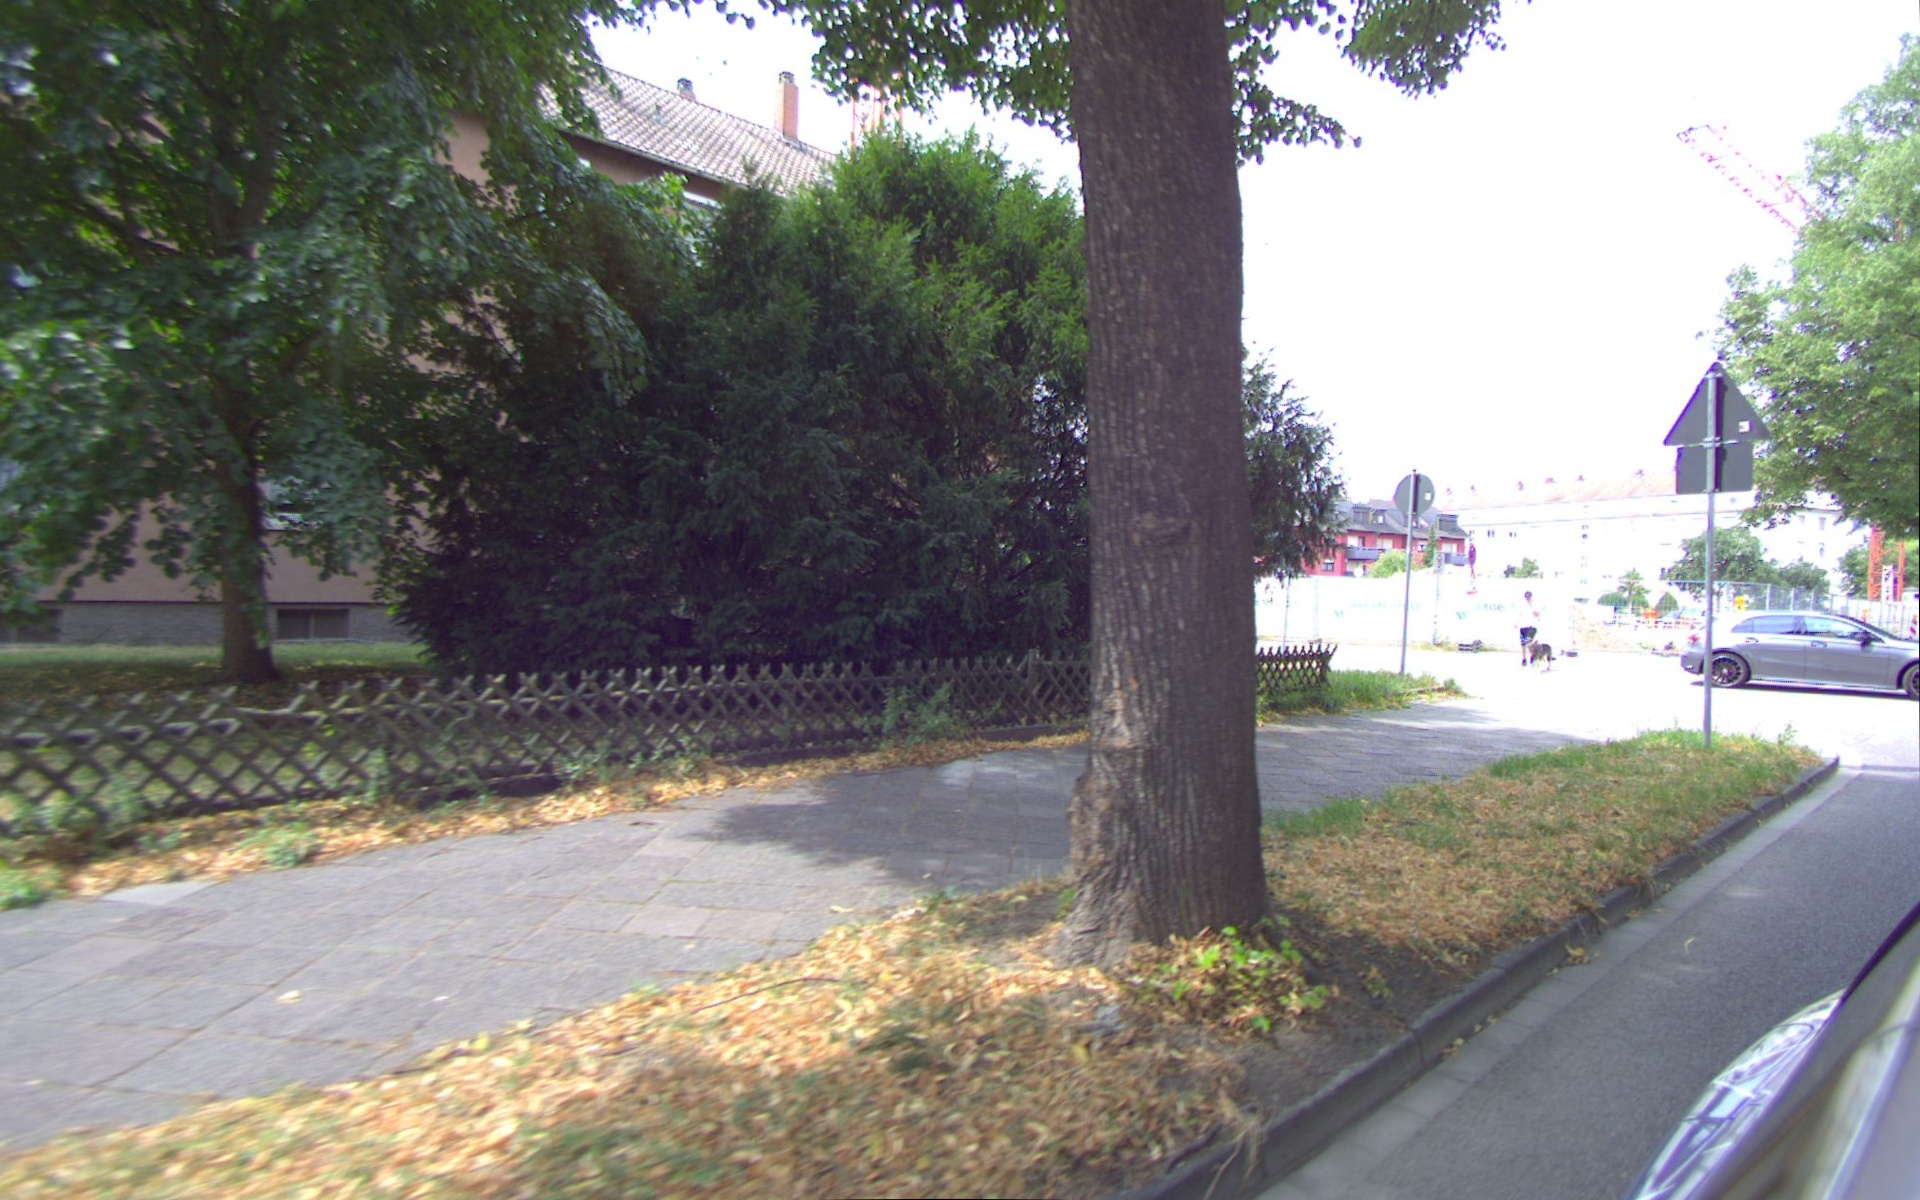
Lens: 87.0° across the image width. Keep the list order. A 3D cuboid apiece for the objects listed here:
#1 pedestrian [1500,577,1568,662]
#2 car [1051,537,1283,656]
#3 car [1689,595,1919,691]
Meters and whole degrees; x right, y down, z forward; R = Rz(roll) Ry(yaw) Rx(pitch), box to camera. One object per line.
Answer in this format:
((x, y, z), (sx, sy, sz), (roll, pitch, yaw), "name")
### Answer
((12.875, 0.432, 22.714), (0.870, 1.836, 0.887), (2, 2, -23), "pedestrian")
((5.134, -0.148, 25.830), (2.293, 2.665, 5.485), (4, 0, -39), "car")
((15.803, 0.724, 17.989), (1.979, 1.460, 4.374), (-1, 3, -45), "car")
